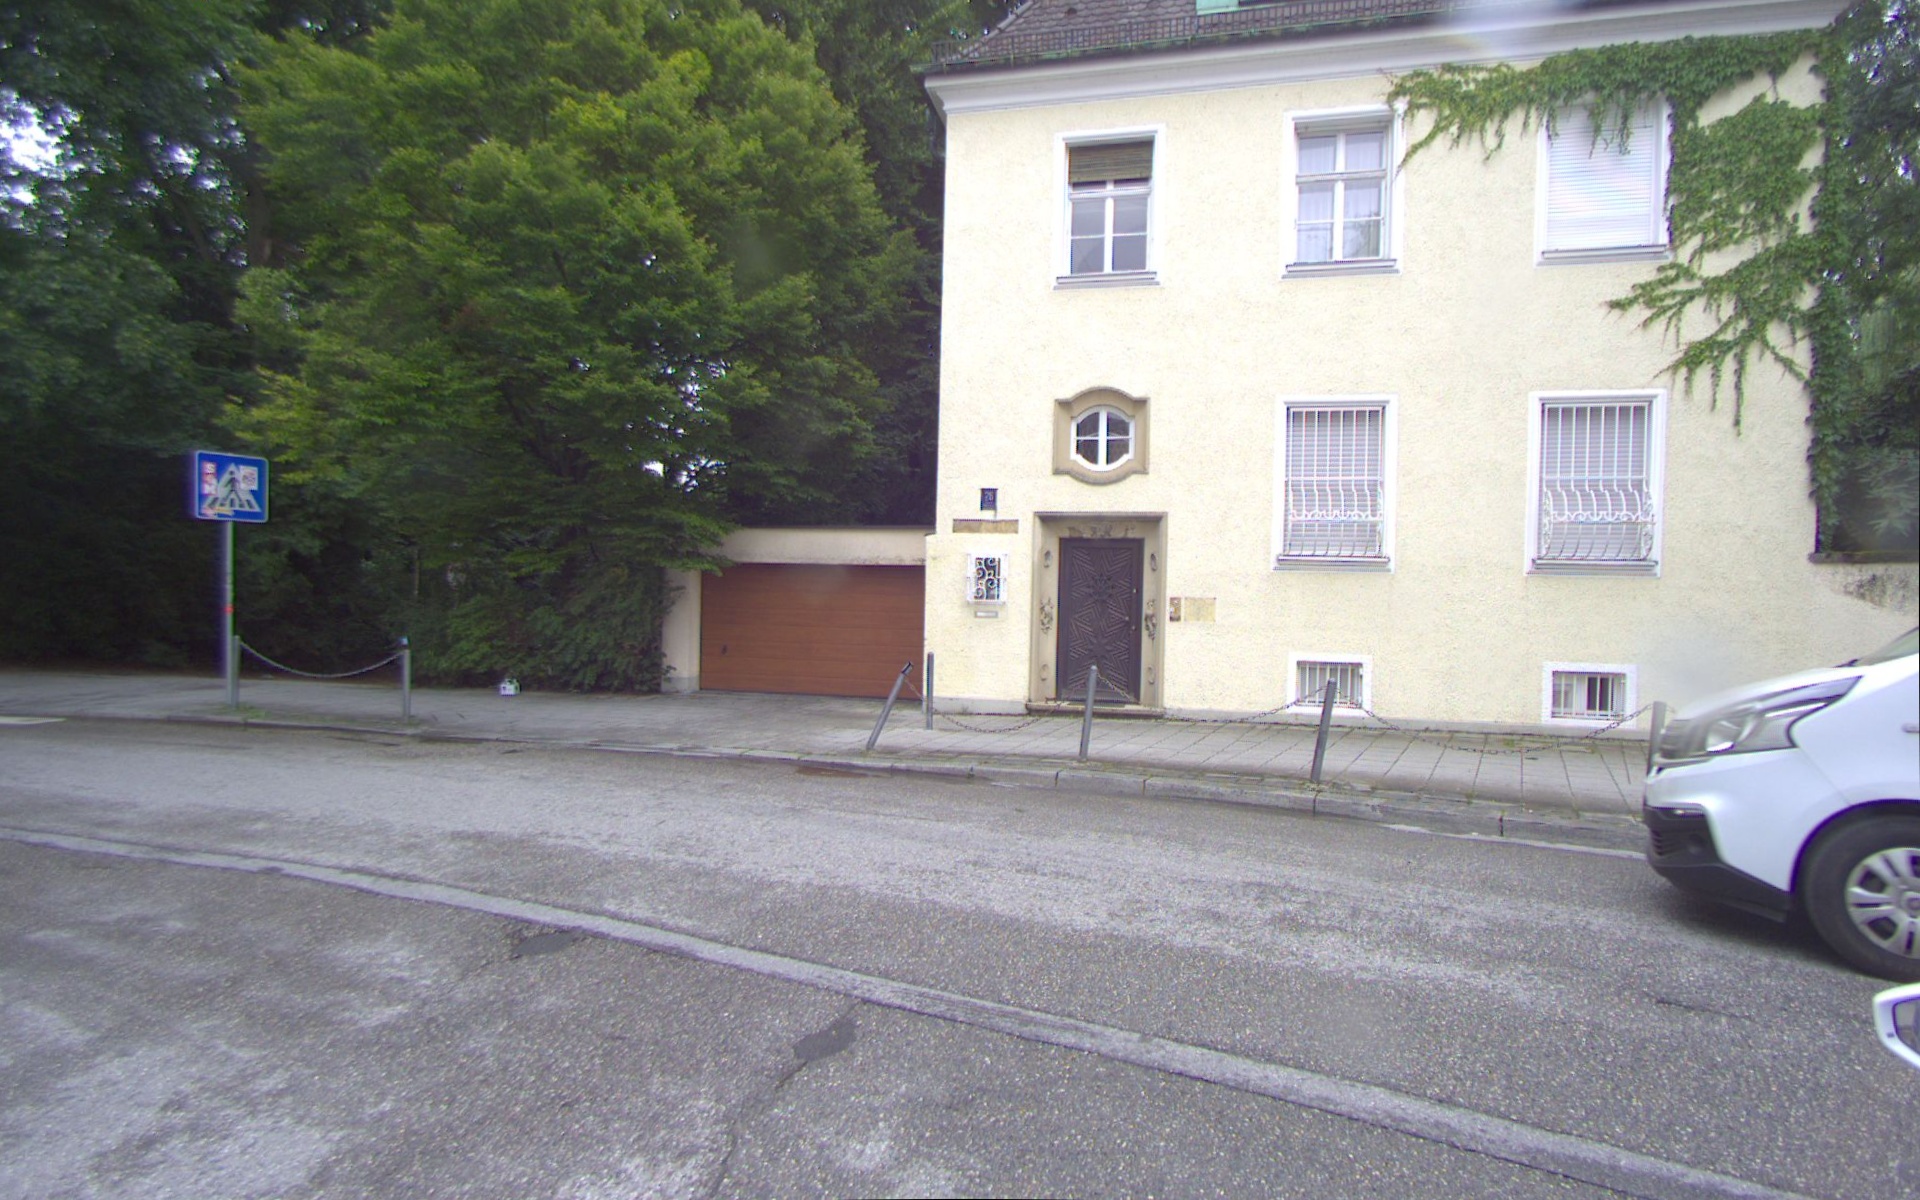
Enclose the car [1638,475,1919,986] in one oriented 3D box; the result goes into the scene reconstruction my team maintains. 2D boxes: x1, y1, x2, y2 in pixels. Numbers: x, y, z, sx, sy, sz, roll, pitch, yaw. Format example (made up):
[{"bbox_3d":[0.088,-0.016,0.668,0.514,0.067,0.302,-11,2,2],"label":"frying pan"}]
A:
[{"bbox_3d":[5.693,0.582,4.029,4.876,2.068,2.040,1,-2,36],"label":"car"}]
